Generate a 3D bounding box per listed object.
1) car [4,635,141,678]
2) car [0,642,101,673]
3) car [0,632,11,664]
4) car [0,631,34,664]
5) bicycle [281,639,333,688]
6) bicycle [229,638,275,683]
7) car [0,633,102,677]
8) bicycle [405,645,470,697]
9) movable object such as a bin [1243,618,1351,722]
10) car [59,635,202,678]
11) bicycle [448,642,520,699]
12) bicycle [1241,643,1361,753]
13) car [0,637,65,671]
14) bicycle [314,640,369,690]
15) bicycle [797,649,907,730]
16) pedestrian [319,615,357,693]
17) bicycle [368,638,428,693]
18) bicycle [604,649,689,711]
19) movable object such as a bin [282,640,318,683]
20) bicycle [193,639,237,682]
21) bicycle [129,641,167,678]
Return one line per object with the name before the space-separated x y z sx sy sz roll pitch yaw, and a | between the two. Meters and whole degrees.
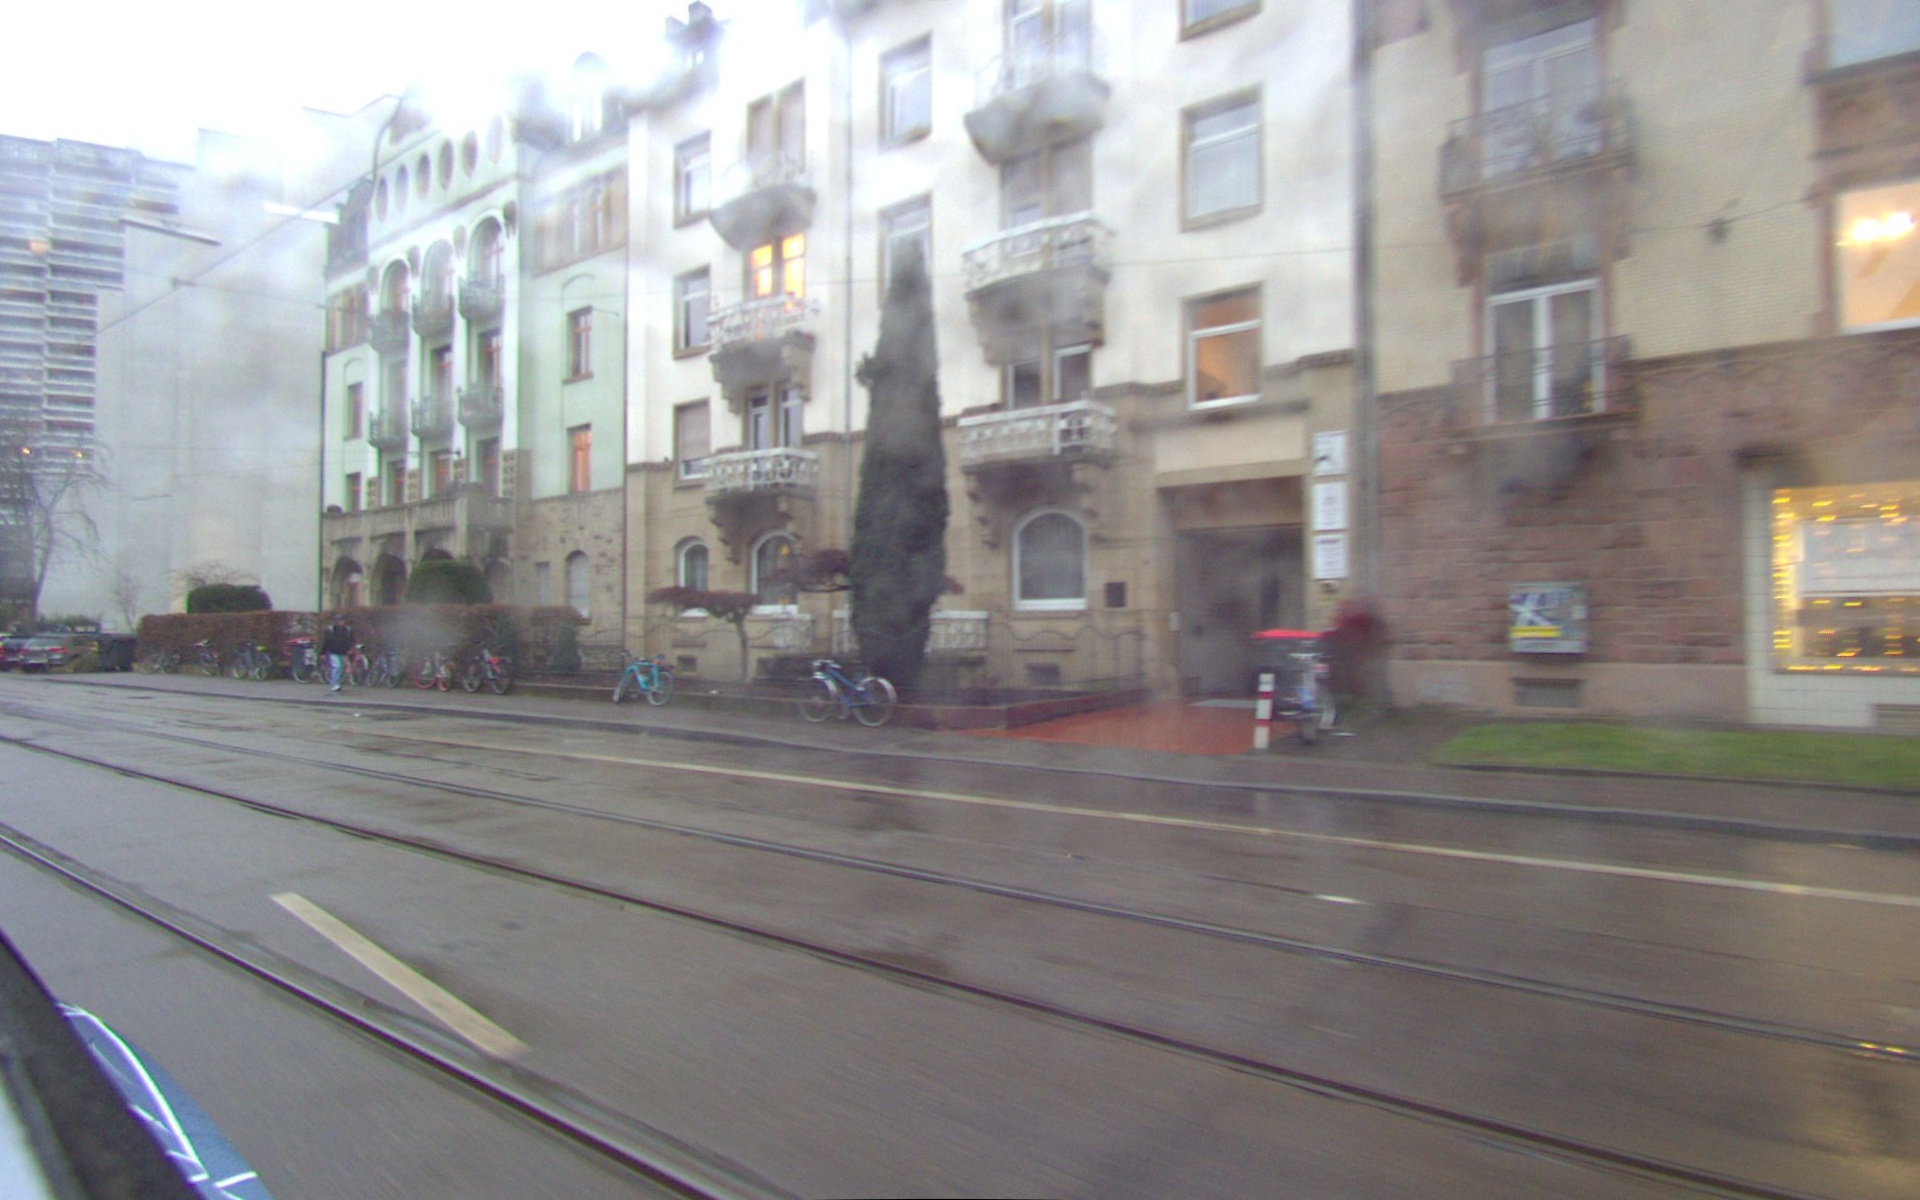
car | -33.546 2.110 38.398 1.739 1.497 4.000 0 -2 -1
car | -38.617 2.397 42.685 1.687 1.262 3.667 0 -2 -2
car | -49.850 2.436 50.212 1.842 1.608 4.000 0 -2 -1
car | -47.563 2.329 49.021 1.842 1.608 4.000 0 -2 -1
bicycle | -16.870 1.620 26.122 1.660 1.221 0.617 -2 -2 39
bicycle | -19.906 1.691 28.448 1.660 1.221 0.617 -2 -2 39
car | -36.372 2.129 39.859 1.842 1.608 4.000 0 -2 -1
bicycle | -11.520 1.545 22.275 1.724 1.074 0.617 -2 -2 39
movable object such as a bin | 4.889 0.980 14.663 1.166 1.390 1.092 -2 1 38
car | -31.000 2.084 37.977 1.847 1.505 3.991 -1 -2 7
bicycle | -9.918 1.448 21.061 1.781 1.134 0.617 -2 -2 39
bicycle | 4.281 1.155 12.577 0.694 1.114 2.327 -2 0 37
car | -43.951 2.480 46.707 1.842 1.460 4.000 0 -2 -1
bicycle | -15.140 1.579 24.758 1.660 1.173 0.617 -2 -2 39
bicycle | -1.605 1.290 14.909 1.660 1.101 0.617 -2 -2 39
pedestrian | -14.204 1.222 23.117 0.644 1.738 0.567 0 0 40
bicycle | -12.962 1.487 23.347 1.660 1.221 0.617 -2 -2 39
bicycle | -5.541 1.389 17.865 1.660 1.011 0.617 -2 -2 39
movable object such as a bin | -18.306 1.686 28.079 0.674 1.173 0.651 -2 -3 39
bicycle | -22.032 1.765 29.921 1.660 1.221 0.617 -2 -2 39
bicycle | -26.326 1.920 32.812 1.660 1.173 0.617 -2 -2 39
